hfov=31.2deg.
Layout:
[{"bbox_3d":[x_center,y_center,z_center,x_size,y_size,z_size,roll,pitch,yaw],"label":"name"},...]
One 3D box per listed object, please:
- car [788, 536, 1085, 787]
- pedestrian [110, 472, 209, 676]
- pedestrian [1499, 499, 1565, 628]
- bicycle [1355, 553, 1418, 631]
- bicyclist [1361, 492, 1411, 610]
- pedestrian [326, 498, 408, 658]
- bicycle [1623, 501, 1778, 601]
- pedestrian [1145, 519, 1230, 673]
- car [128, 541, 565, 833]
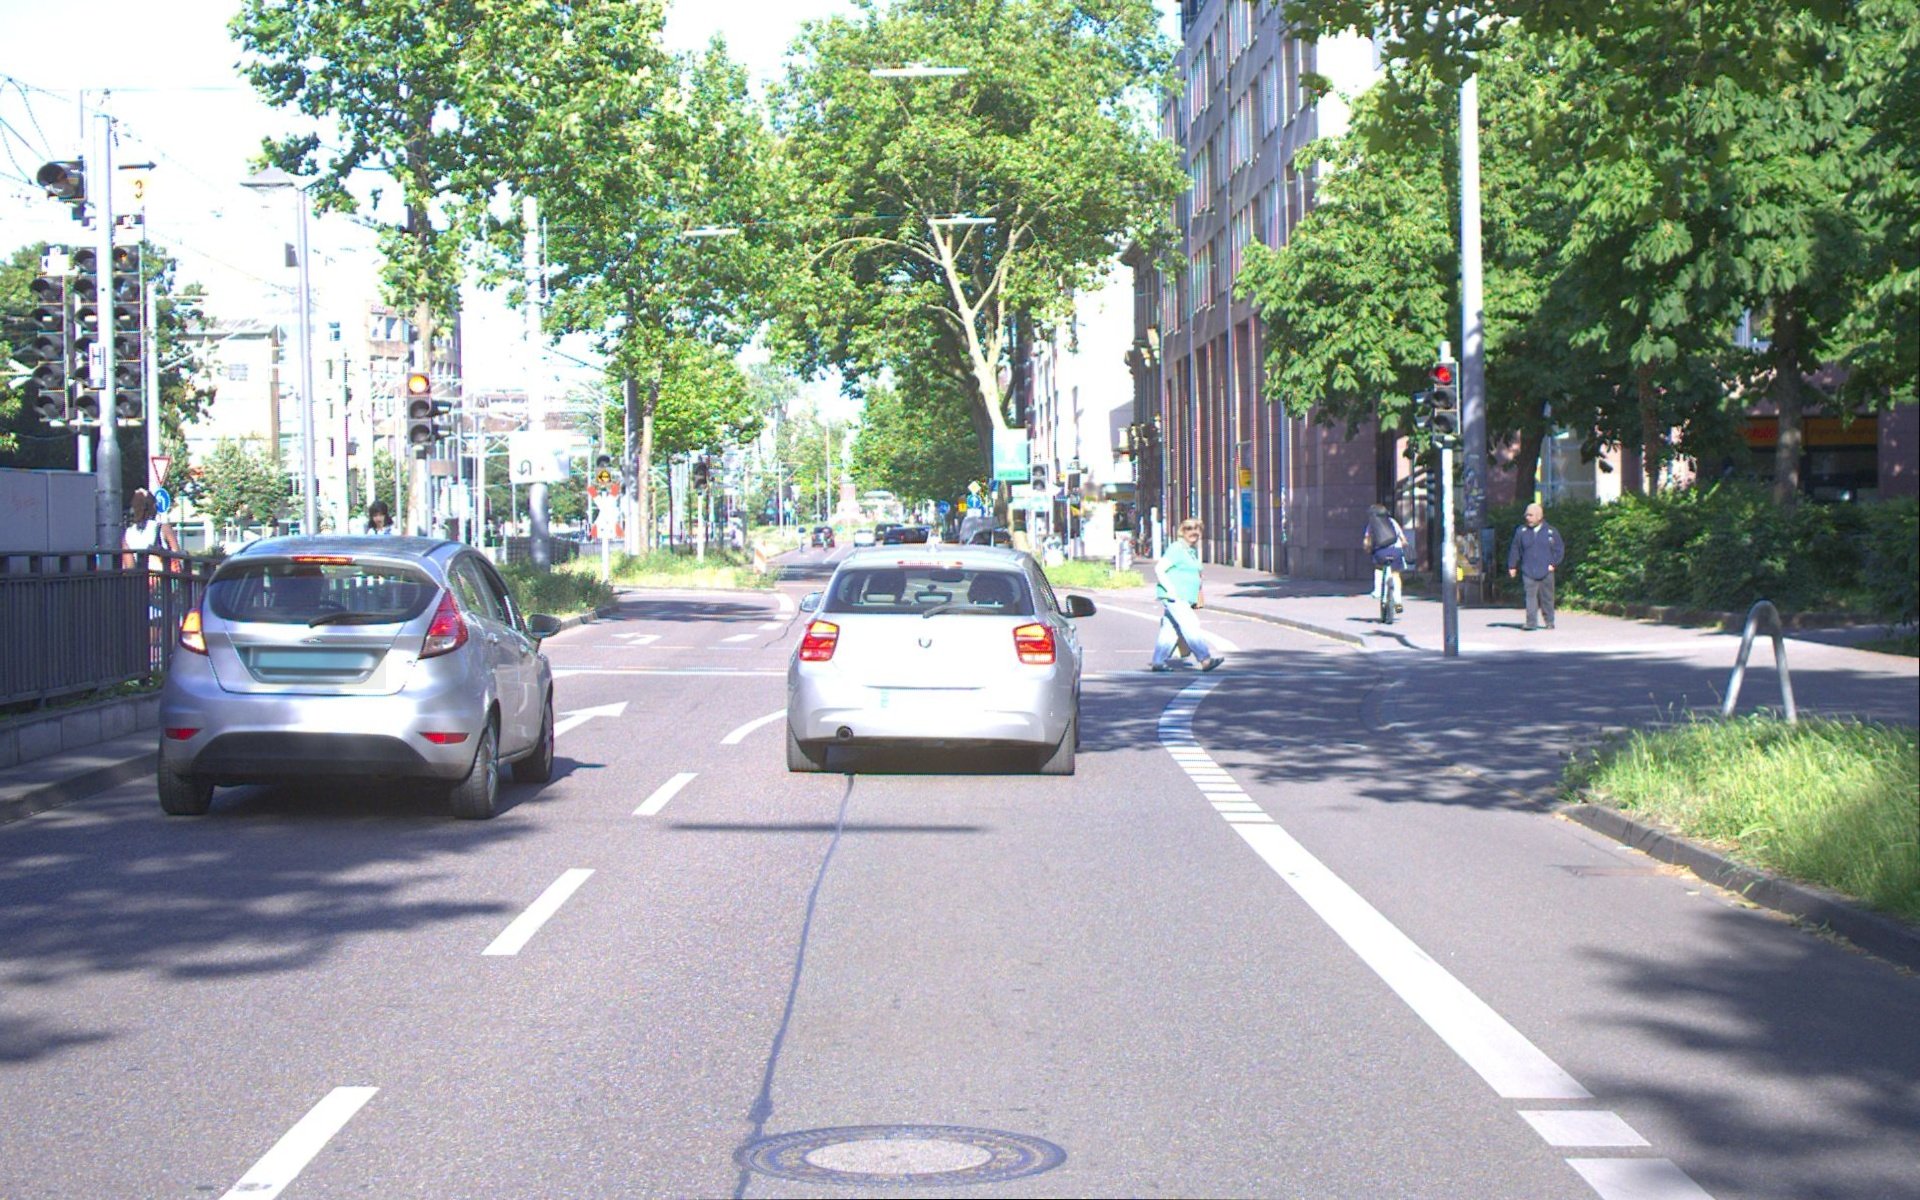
[{"bbox_3d":[-0.072,0.327,22.219,1.730,1.385,3.840,1,2,2],"label":"car"},{"bbox_3d":[-6.196,-0.207,26.626,0.630,1.551,0.647,-1,1,-5],"label":"pedestrian"},{"bbox_3d":[7.277,-0.472,43.700,0.627,1.623,0.943,1,1,22],"label":"pedestrian"},{"bbox_3d":[6.073,-0.126,48.934,0.832,1.038,1.874,-1,1,8],"label":"bicycle"},{"bbox_3d":[6.067,-0.701,48.968,0.658,1.651,0.765,-1,1,8],"label":"bicyclist"},{"bbox_3d":[-6.050,-0.219,35.055,0.639,1.614,0.642,0,-1,-27],"label":"pedestrian"},{"bbox_3d":[10.332,-0.688,48.004,1.996,1.310,0.574,-2,1,3],"label":"bicycle"},{"bbox_3d":[2.346,-0.048,35.409,0.830,1.570,0.739,0,1,7],"label":"pedestrian"},{"bbox_3d":[-3.209,0.394,18.609,1.660,1.404,3.632,1,1,1],"label":"car"}]
